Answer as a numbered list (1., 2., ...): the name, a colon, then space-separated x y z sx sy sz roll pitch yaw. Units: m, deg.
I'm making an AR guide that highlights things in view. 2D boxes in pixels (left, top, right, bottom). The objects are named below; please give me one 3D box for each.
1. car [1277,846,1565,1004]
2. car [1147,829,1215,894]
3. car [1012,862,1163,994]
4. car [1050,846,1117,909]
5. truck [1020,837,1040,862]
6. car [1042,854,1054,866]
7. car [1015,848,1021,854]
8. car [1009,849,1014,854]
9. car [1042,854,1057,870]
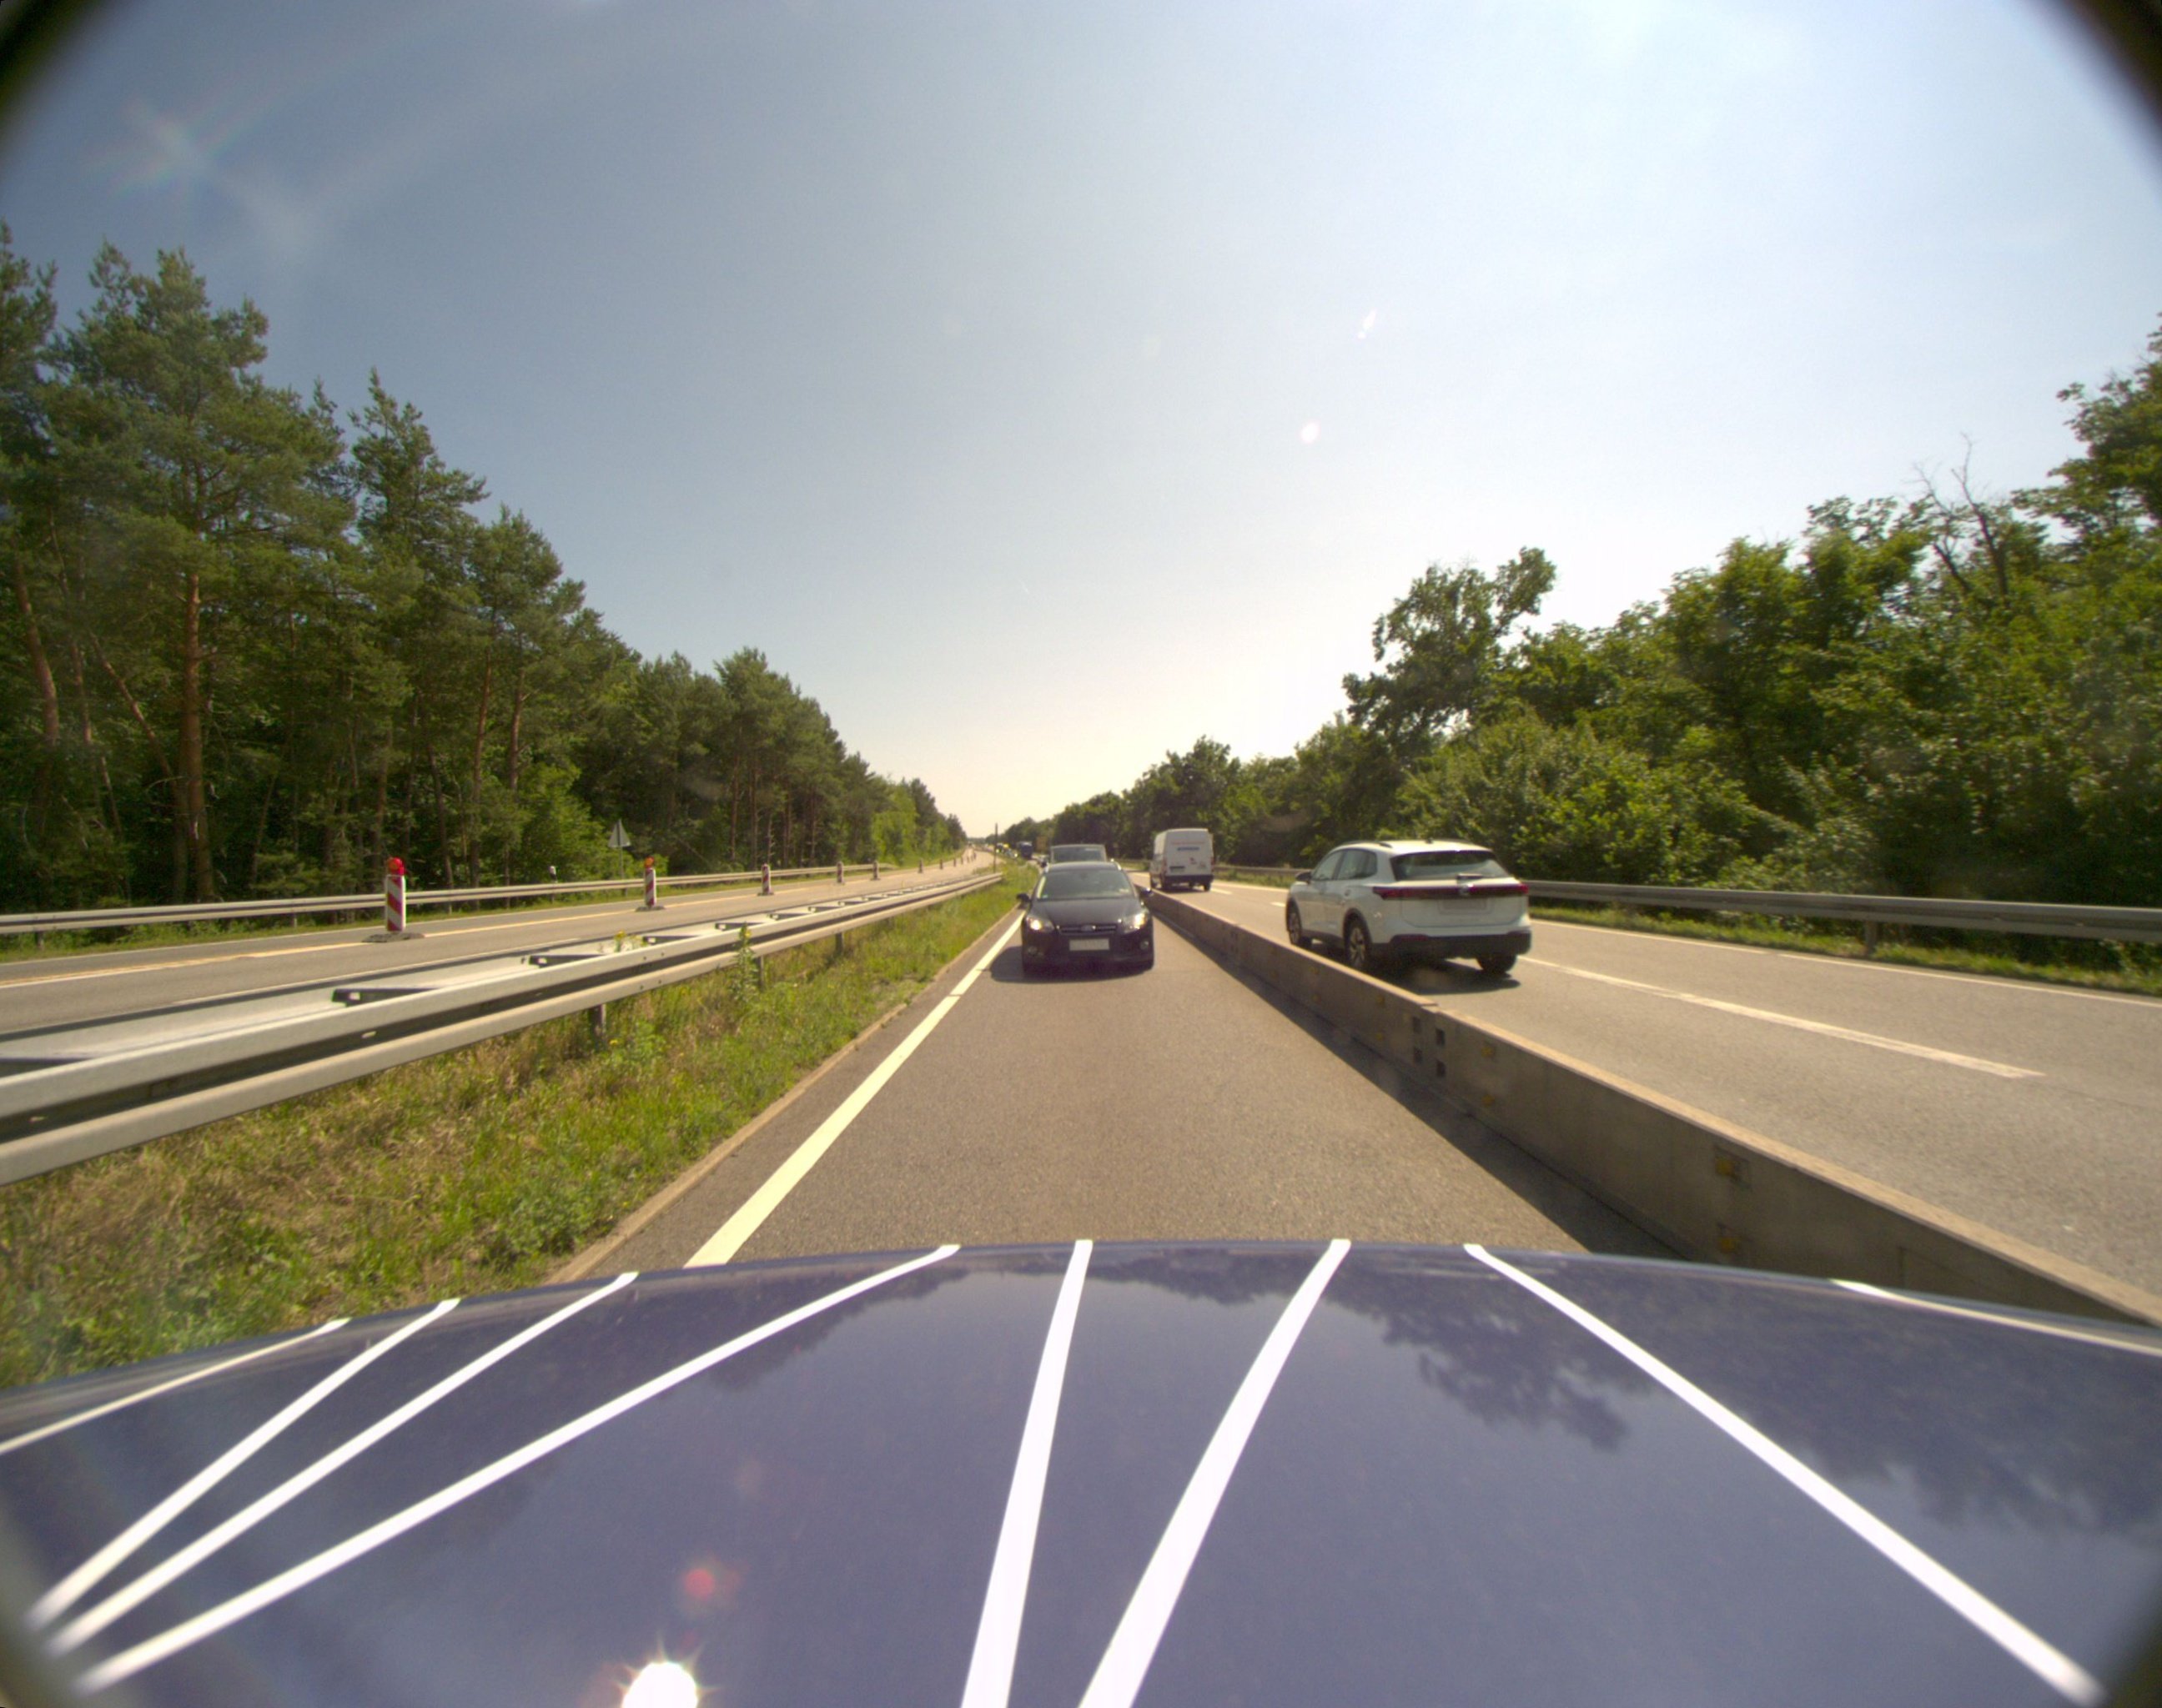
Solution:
1. car: 4.112 0.741 10.091 1.853 1.592 4.321 -2 0 0
2. car: 4.194 0.295 32.725 2.067 2.471 5.559 -2 0 -1
3. car: -0.006 0.944 11.858 1.847 1.536 4.934 -1 0 -2
4. car: -0.024 0.714 25.568 1.960 1.901 4.934 -1 0 -3
5. truck: -11.523 -0.984 170.509 3.832 5.266 11.238 -1 0 -8
6. car: -4.410 0.781 100.448 1.527 1.647 3.979 -1 0 -2
7. car: -17.815 -0.736 214.790 1.527 1.647 3.979 -1 0 -2
8. car: -22.909 -0.846 251.800 1.528 1.647 3.978 -1 0 -6
9. car: -3.373 0.823 81.245 1.527 1.647 3.979 -1 0 -2
